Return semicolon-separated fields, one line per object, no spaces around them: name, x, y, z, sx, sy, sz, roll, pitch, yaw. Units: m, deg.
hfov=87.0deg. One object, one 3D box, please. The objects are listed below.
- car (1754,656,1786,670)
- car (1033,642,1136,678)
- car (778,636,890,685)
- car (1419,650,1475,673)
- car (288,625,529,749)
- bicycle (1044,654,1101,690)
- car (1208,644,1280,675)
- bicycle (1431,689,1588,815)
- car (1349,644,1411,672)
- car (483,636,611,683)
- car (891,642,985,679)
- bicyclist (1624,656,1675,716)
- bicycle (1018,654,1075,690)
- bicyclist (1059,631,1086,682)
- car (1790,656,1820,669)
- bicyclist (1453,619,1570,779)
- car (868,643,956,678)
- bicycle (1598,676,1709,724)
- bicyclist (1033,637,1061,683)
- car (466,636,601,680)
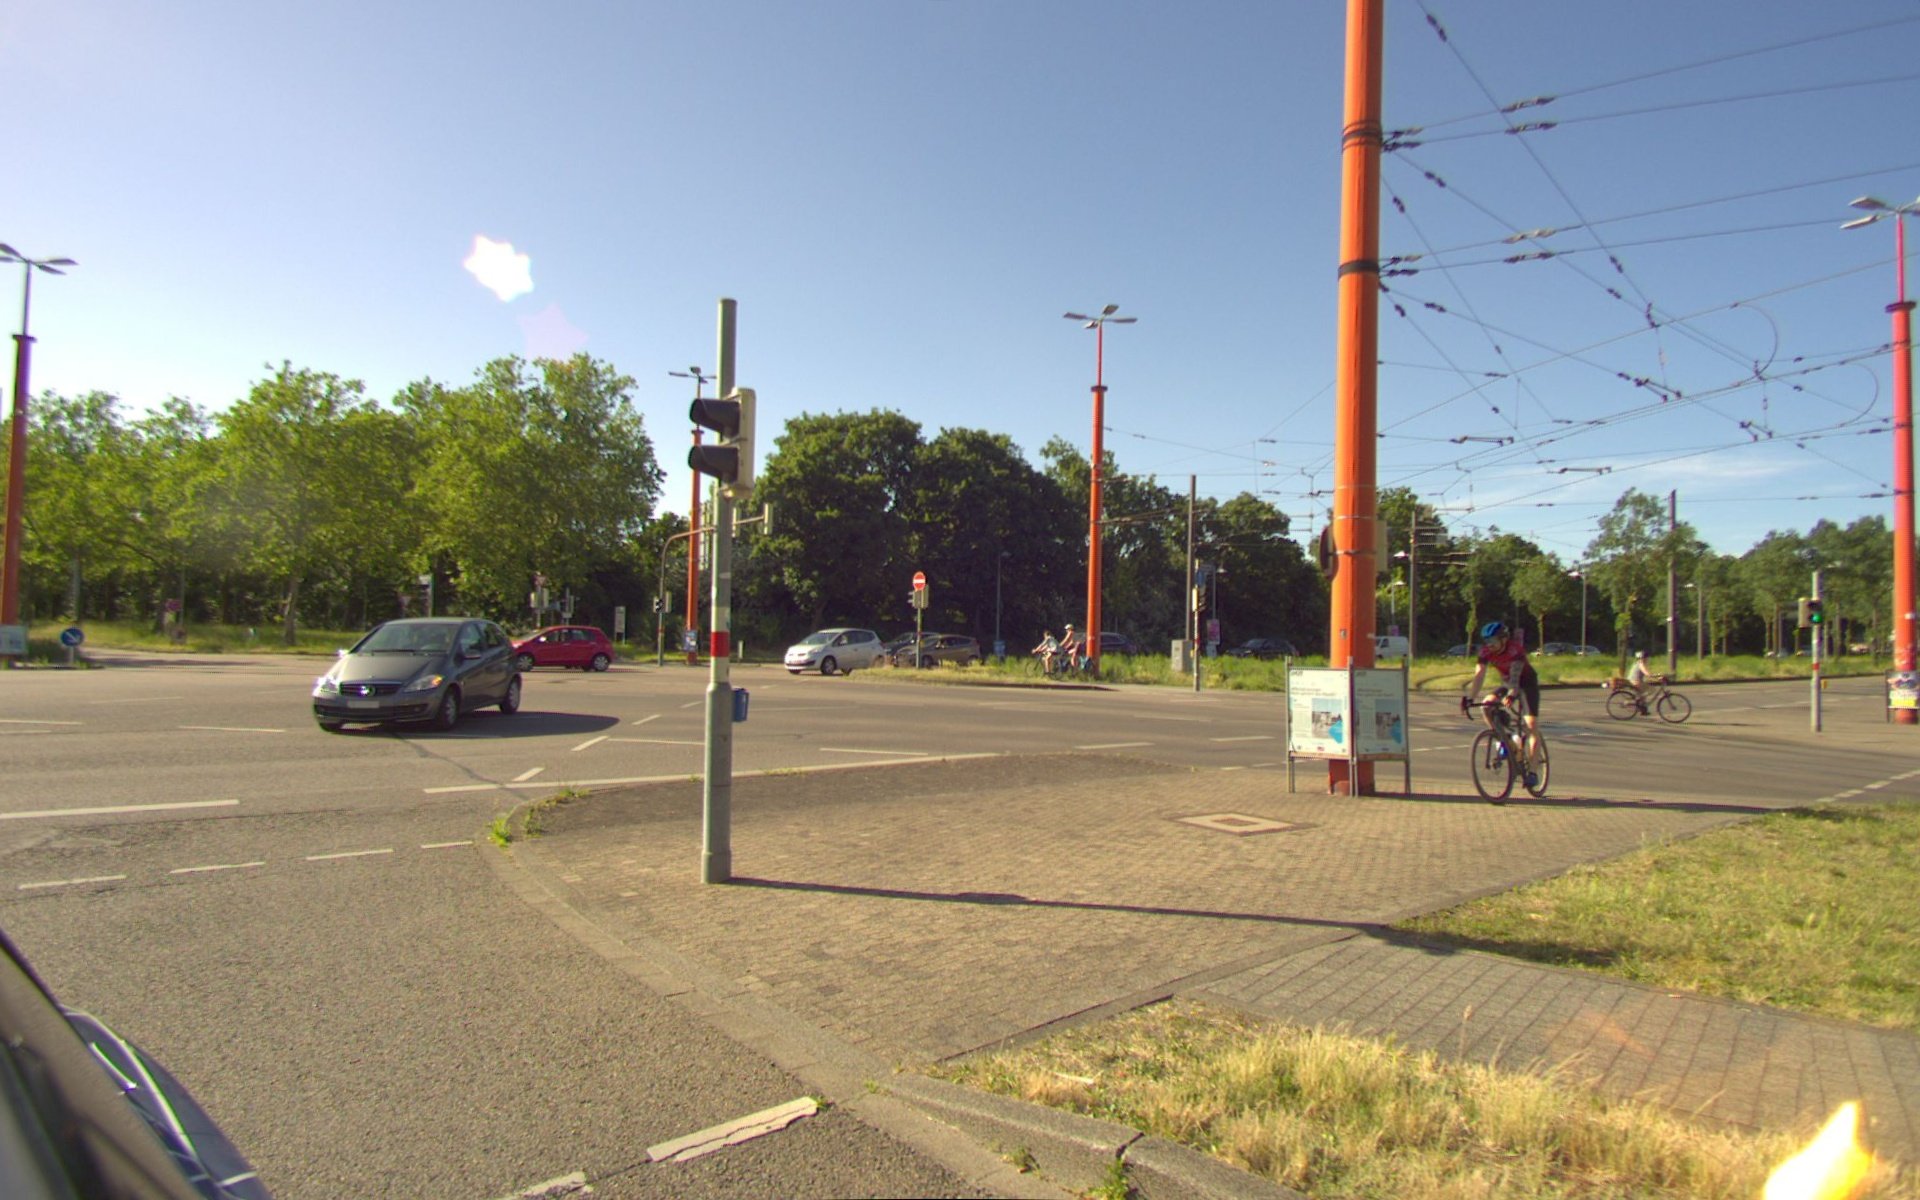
car;90.167;6.997;112.655;3.934;1.522;1.804;3;-4;-36
car;5.522;2.655;44.589;4.551;1.522;1.793;3;-4;-37
car;-4.307;2.100;35.141;1.701;1.600;3.857;-2;-4;35
car;33.066;4.157;68.710;3.934;1.522;1.804;3;-4;-36
car;-8.163;1.214;15.401;1.773;1.602;3.766;2;-2;-4
bicycle;3.734;2.391;33.668;1.793;1.116;0.556;0;-3;30
car;15.633;3.262;55.636;3.934;1.667;1.804;3;-4;-36
bicycle;5.465;1.452;10.021;1.871;1.116;0.704;4;-5;-39
car;28.311;3.909;68.144;4.482;1.850;1.804;3;-4;-36
car;-13.673;1.955;33.550;3.612;1.470;1.593;3;-3;-37
car;-0.911;2.556;43.033;3.723;1.522;1.617;3;-4;-35
bicyclist;16.495;2.053;24.218;0.784;1.391;0.657;-1;-5;17
bicycle;2.810;2.320;32.788;1.793;1.116;0.495;0;-3;30
bicyclist;3.739;1.873;33.692;0.712;1.665;0.556;0;-3;30
car;101.815;7.560;121.899;3.934;1.522;1.804;3;-4;-36
bicyclist;5.479;0.969;10.057;0.942;1.489;0.704;4;-5;-39
car;-2.168;2.726;45.965;3.724;1.518;1.617;3;-4;-37
bicycle;16.539;2.369;24.175;2.027;1.116;0.657;-1;-5;17
bicyclist;2.817;1.929;32.804;0.775;1.458;0.495;0;-3;30
car;-15.443;2.096;36.760;4.178;1.522;1.804;3;-4;-37
